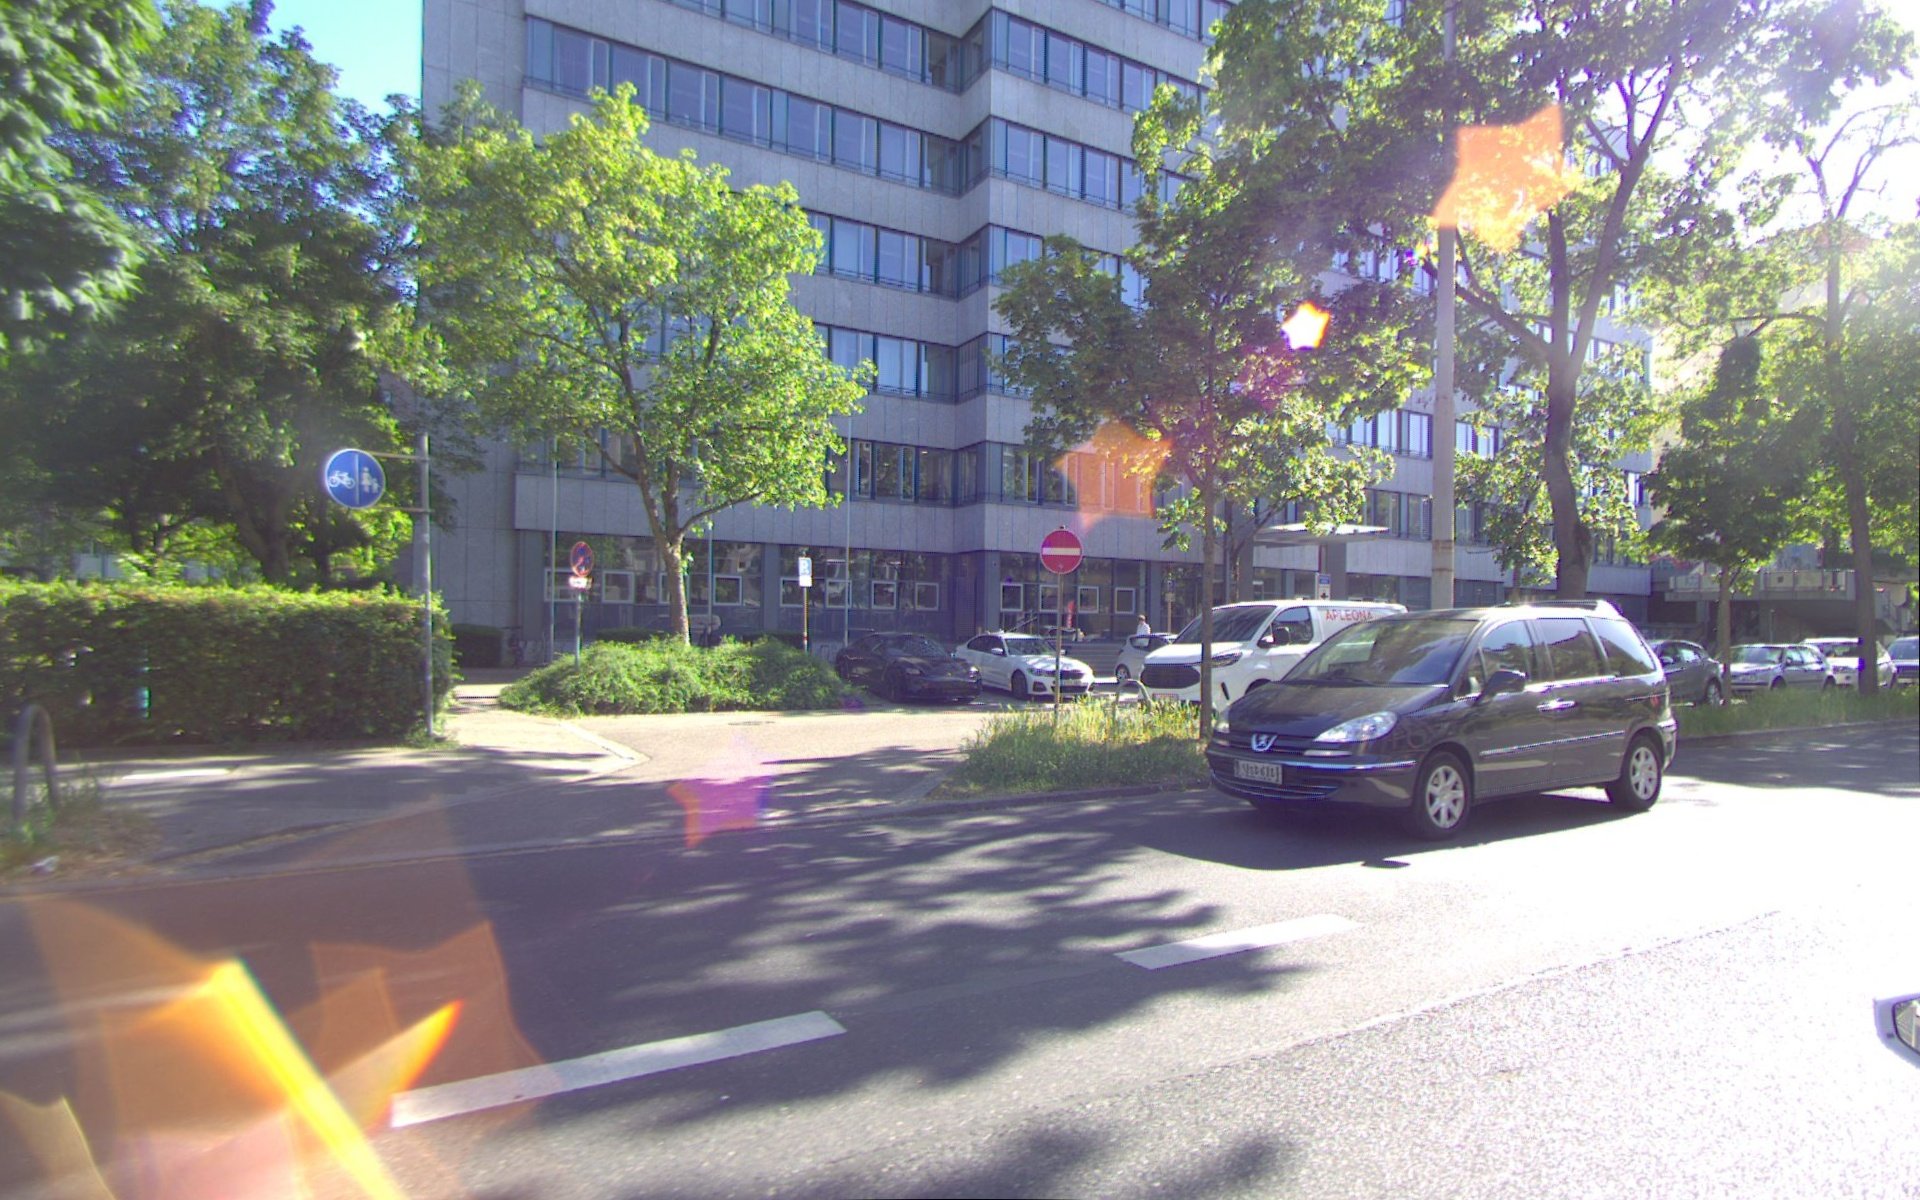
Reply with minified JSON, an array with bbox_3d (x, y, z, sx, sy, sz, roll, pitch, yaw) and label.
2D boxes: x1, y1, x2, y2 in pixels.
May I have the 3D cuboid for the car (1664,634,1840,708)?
[{"bbox_3d":[18.712,1.628,23.715,4.014,1.543,1.848,2,0,-29],"label":"car"}]

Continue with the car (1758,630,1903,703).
[{"bbox_3d":[22.815,1.685,26.262,4.620,1.706,1.843,2,0,-36],"label":"car"}]

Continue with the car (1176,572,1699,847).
[{"bbox_3d":[4.224,0.831,8.716,4.555,1.849,1.847,2,-3,-30],"label":"car"}]

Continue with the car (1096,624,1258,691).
[{"bbox_3d":[5.815,1.503,27.397,1.841,1.543,4.280,2,0,-32],"label":"car"}]

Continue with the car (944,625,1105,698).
[{"bbox_3d":[1.430,1.419,24.410,1.912,1.462,4.599,2,0,-25],"label":"car"}]

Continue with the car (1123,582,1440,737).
[{"bbox_3d":[5.163,0.928,15.886,5.141,2.103,1.970,2,-3,-33],"label":"car"}]

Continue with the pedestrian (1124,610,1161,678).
[{"bbox_3d":[5.834,1.395,32.125,0.782,2.121,0.768,2,0,-28],"label":"pedestrian"}]

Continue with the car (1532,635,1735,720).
[{"bbox_3d":[14.042,1.546,20.899,4.268,1.543,1.846,2,0,-31],"label":"car"}]

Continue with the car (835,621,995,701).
[{"bbox_3d":[-1.154,1.287,22.609,1.982,1.533,4.656,1,-1,-25],"label":"car"}]

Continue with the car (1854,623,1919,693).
[{"bbox_3d":[28.061,1.672,29.212,4.510,1.874,1.846,2,0,-31],"label":"car"}]
